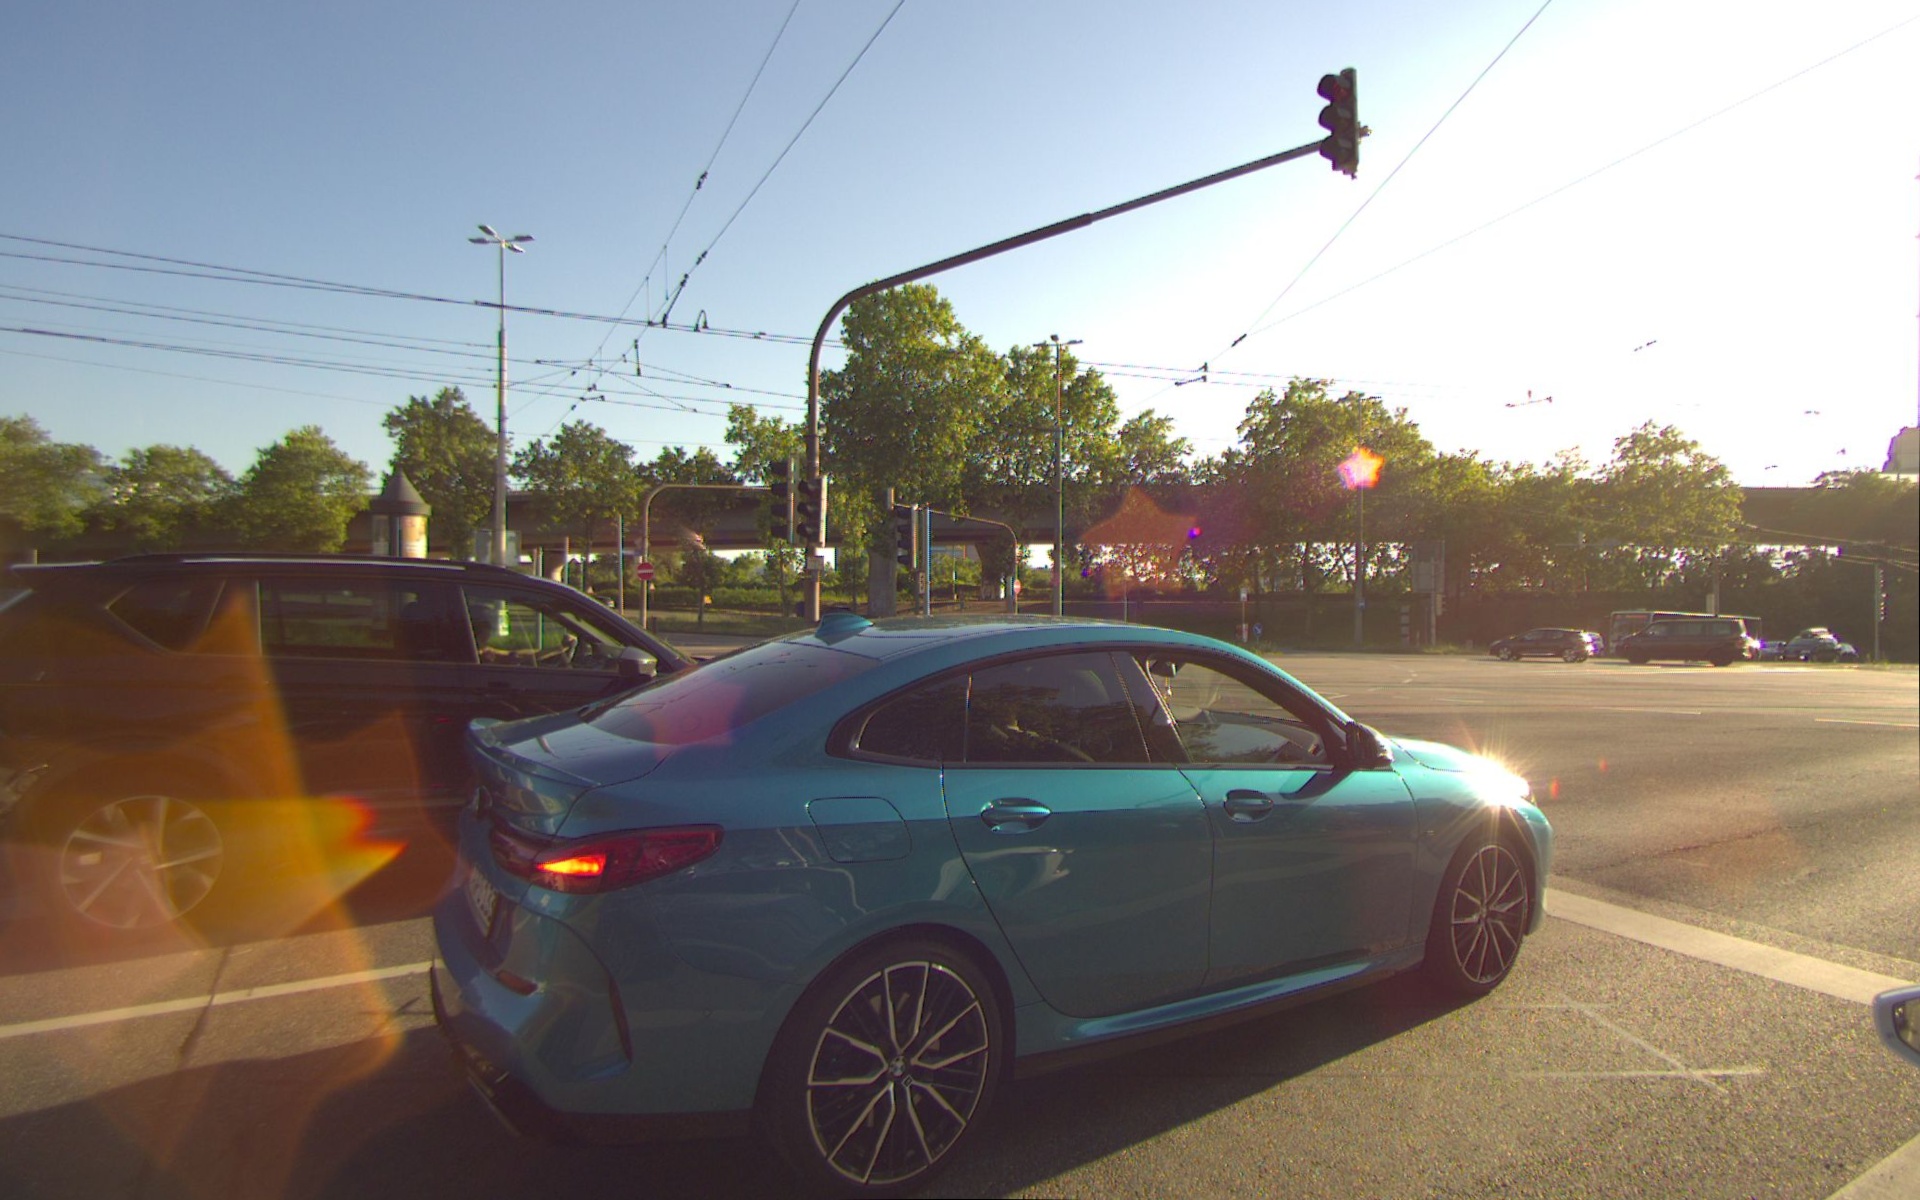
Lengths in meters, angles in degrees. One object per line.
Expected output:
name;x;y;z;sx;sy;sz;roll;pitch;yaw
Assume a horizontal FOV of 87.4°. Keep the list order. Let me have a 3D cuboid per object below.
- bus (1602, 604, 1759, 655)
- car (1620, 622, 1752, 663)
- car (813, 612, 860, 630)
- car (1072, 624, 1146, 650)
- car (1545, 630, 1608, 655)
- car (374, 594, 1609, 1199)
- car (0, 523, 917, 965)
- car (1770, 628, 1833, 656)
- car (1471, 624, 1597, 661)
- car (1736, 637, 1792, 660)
bus;45.461;1.886;63.174;12.693;2.993;2.811;2;-1;-28
car;31.885;1.837;44.171;4.472;1.644;1.988;0;-1;44
car;-10.780;1.800;87.641;1.984;1.473;4.482;2;-1;-40
car;9.369;2.339;63.541;1.984;1.473;4.482;2;-1;-40
car;35.176;2.429;57.312;3.693;1.372;1.595;2;-1;-32
car;0.414;0.761;3.797;4.465;1.436;1.774;2;-1;-33
car;-2.692;0.599;5.616;4.550;1.704;1.905;2;-1;-32
car;52.164;2.614;62.282;4.046;1.674;1.703;2;-1;-30
car;25.530;1.876;44.778;1.982;1.473;4.485;2;-1;-38
car;54.693;3.290;68.316;3.952;1.461;1.692;2;-1;-30
